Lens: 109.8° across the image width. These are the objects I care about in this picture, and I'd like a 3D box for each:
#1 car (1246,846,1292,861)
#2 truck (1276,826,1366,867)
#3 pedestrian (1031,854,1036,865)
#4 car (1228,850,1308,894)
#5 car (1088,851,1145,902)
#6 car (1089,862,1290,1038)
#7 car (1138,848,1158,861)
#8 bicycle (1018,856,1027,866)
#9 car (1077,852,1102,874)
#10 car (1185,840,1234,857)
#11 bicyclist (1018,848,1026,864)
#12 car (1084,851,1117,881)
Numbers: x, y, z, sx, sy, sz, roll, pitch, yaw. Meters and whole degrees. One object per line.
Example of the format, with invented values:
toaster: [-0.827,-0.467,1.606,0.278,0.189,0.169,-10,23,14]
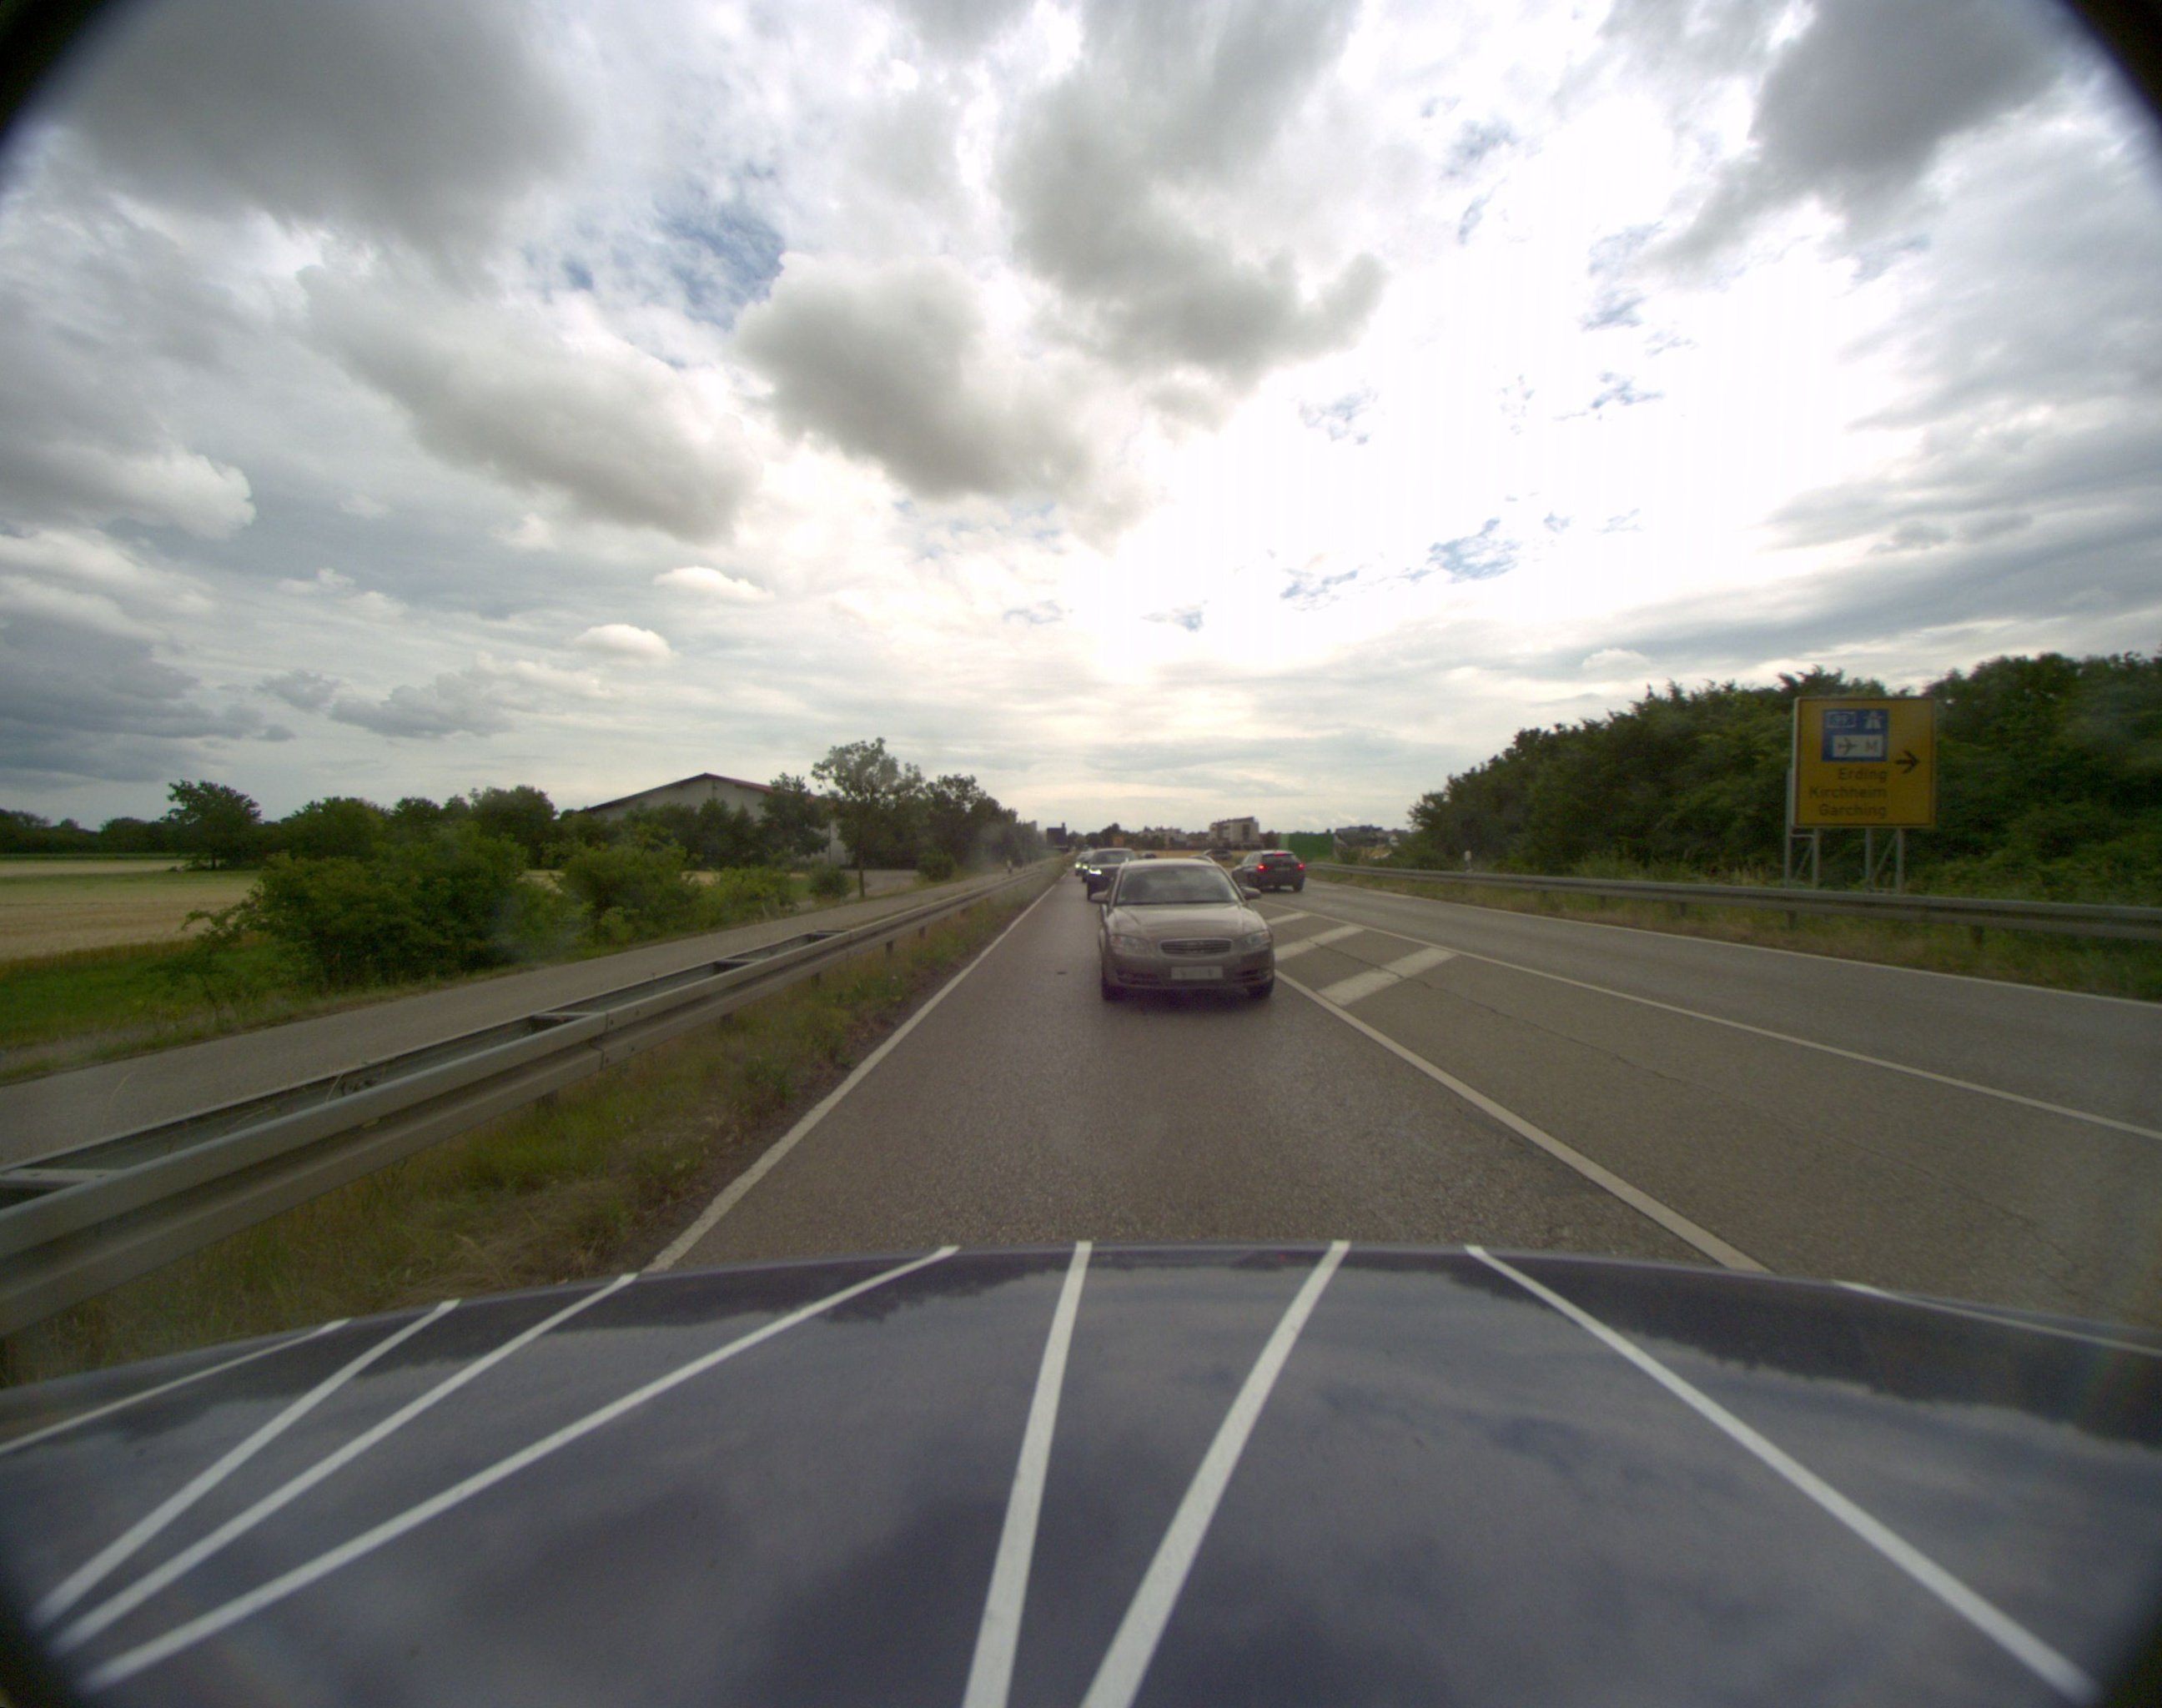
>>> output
car: [20.209,-0.074,81.907,4.673,1.490,2.001,-1,1,8]
truck: [23.012,-0.714,73.008,7.603,3.542,2.931,-2,1,-5]
pedestrian: [-6.616,0.744,106.486,0.591,1.512,0.501,-2,1,7]
car: [6.750,0.591,27.897,1.804,1.442,4.445,-1,1,0]
car: [1.136,0.717,26.049,1.730,1.534,4.204,-2,1,0]
car: [0.987,0.875,8.842,1.730,1.436,4.204,-2,1,0]
car: [8.382,0.047,95.846,1.999,1.481,3.837,-1,1,-3]
bicycle: [-5.824,0.707,75.439,0.640,0.972,2.072,-1,1,1]
car: [0.598,0.597,54.237,1.730,1.436,4.204,-2,1,0]
car: [13.848,-0.612,81.973,4.816,1.680,1.999,-1,1,-3]
bicyclist: [-5.828,0.186,75.430,0.640,1.573,0.969,-1,1,1]
car: [1.036,0.627,41.909,1.730,1.478,4.204,-2,1,0]
